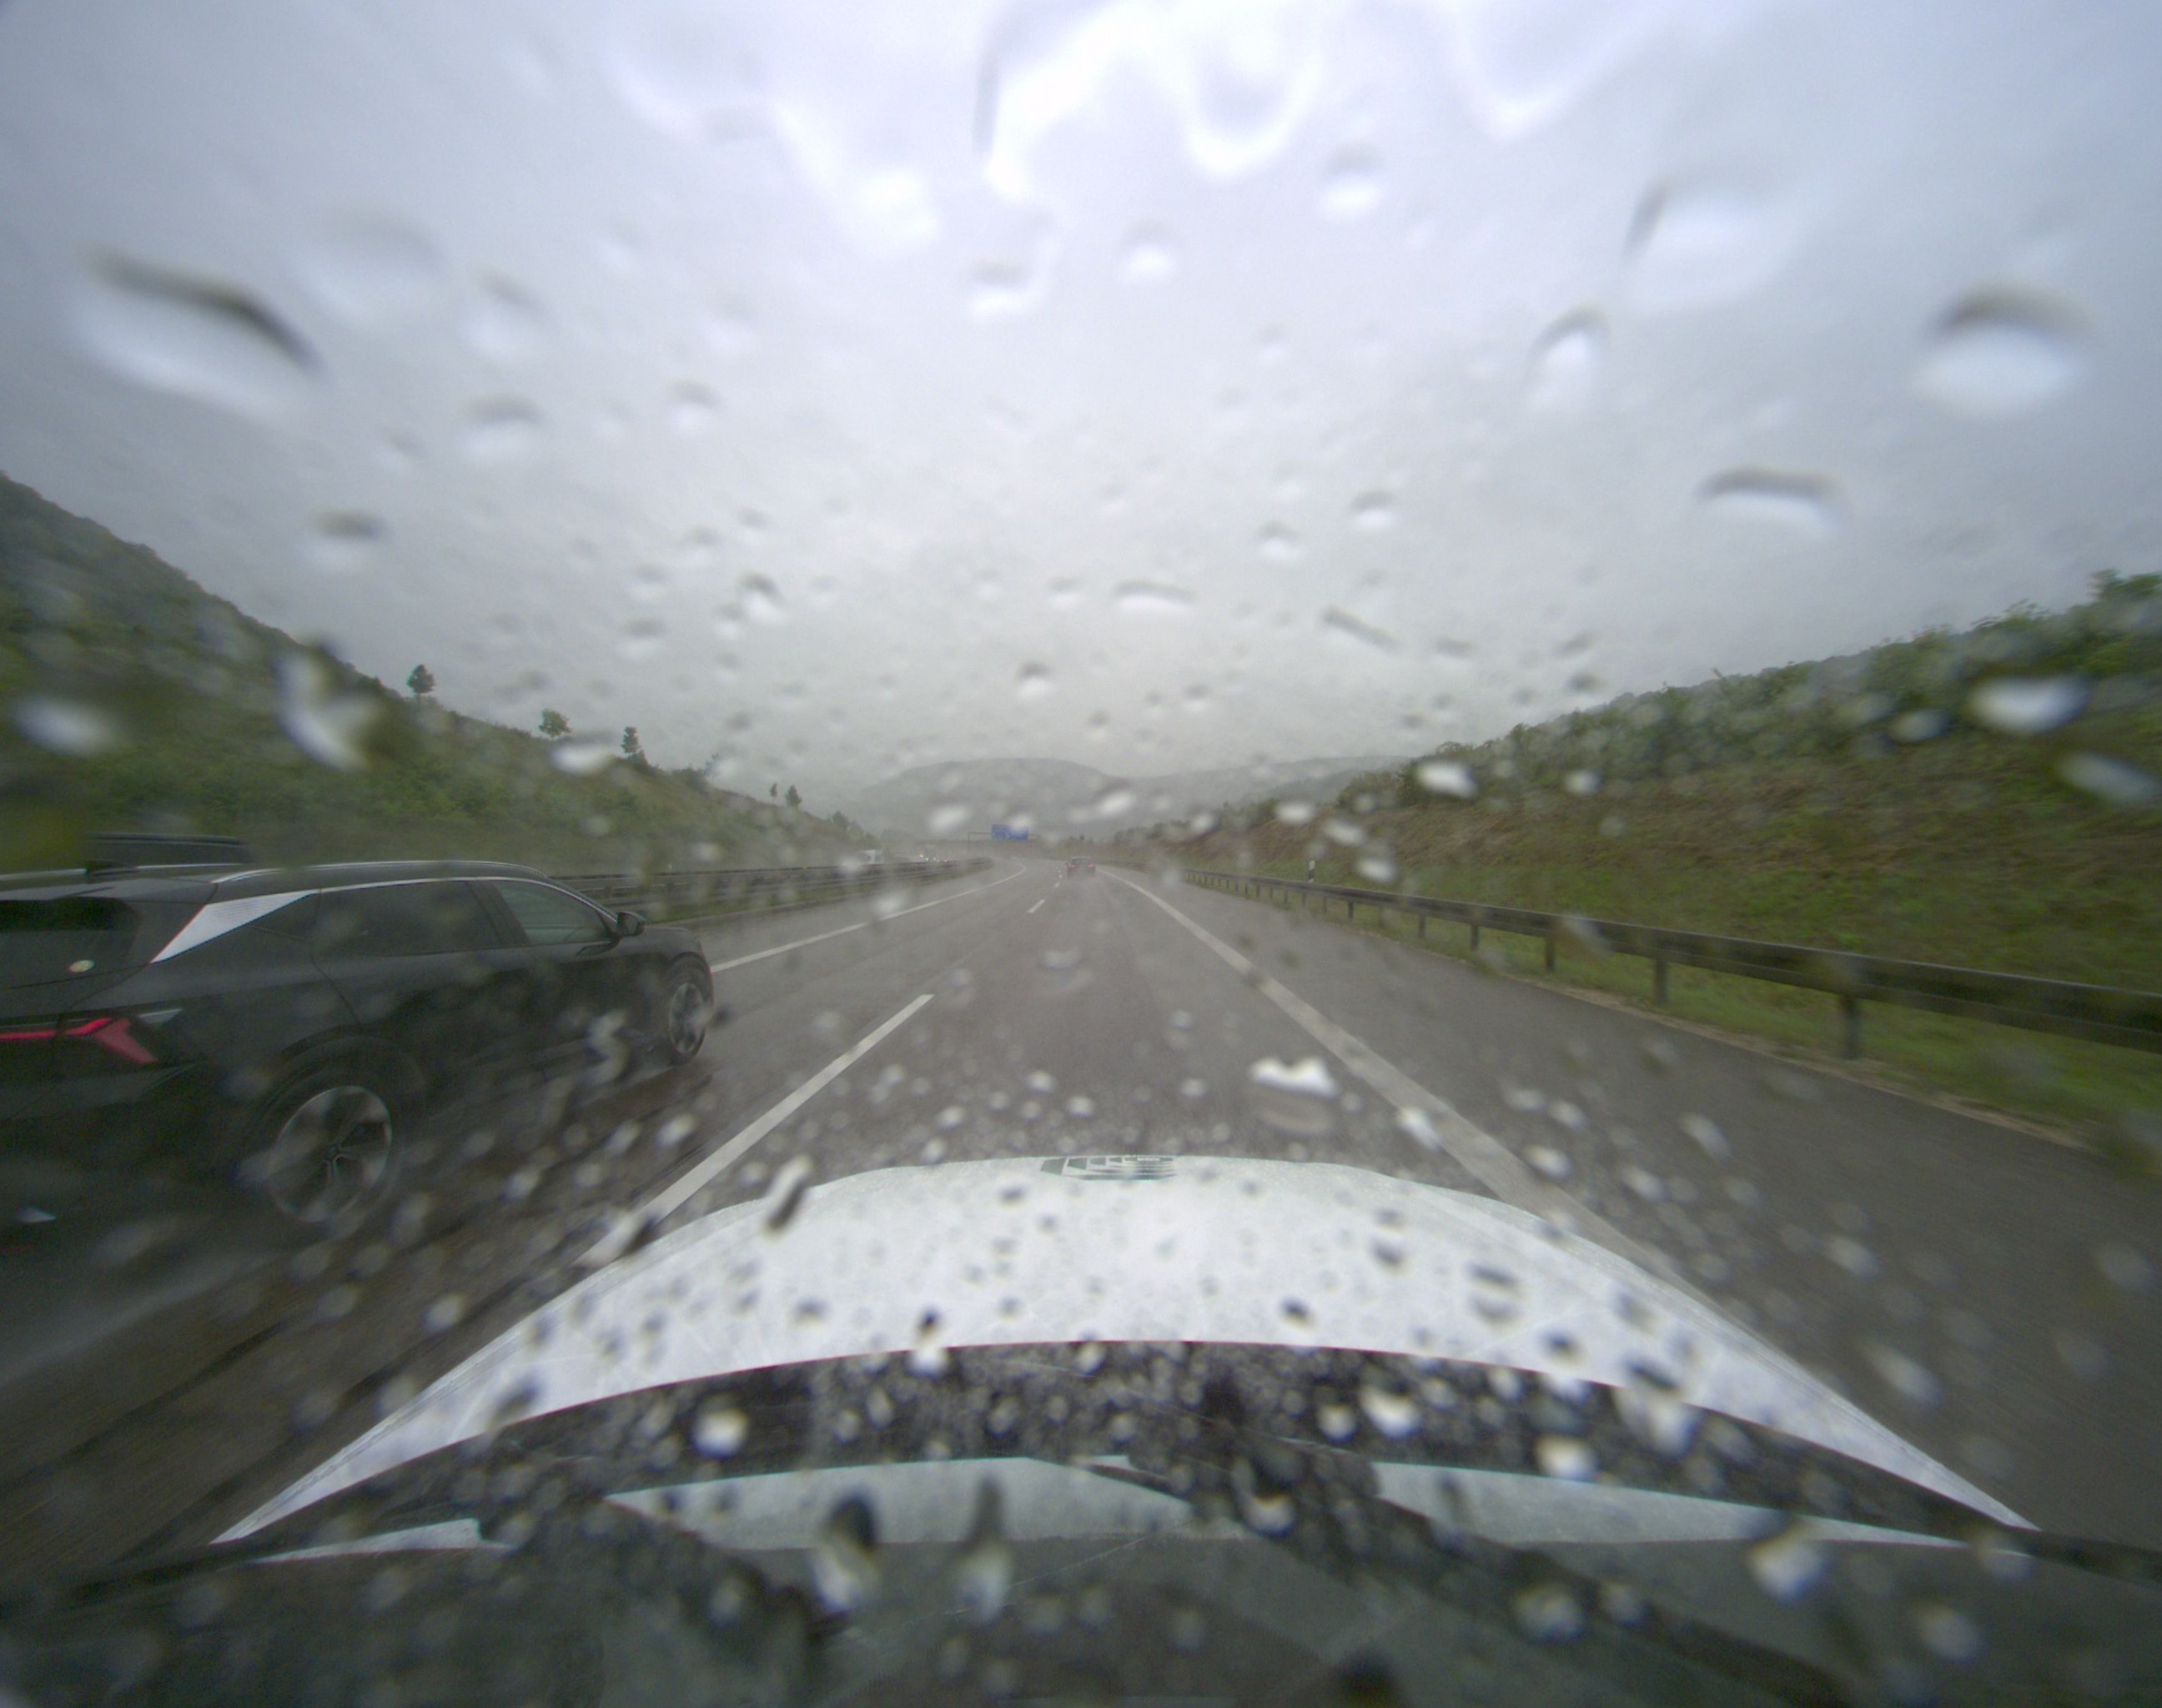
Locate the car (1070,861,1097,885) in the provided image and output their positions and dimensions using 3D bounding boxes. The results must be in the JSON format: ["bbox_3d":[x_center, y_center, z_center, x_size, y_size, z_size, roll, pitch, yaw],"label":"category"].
[{"bbox_3d":[0.132,1.217,52.482,1.674,1.472,3.814,0,0,0],"label":"car"}]

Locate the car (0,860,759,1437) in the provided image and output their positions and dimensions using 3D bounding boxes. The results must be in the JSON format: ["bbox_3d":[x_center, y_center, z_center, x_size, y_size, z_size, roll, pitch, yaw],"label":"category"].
[{"bbox_3d":[-4.009,0.809,4.555,2.397,1.515,4.785,0,0,1],"label":"car"}]
